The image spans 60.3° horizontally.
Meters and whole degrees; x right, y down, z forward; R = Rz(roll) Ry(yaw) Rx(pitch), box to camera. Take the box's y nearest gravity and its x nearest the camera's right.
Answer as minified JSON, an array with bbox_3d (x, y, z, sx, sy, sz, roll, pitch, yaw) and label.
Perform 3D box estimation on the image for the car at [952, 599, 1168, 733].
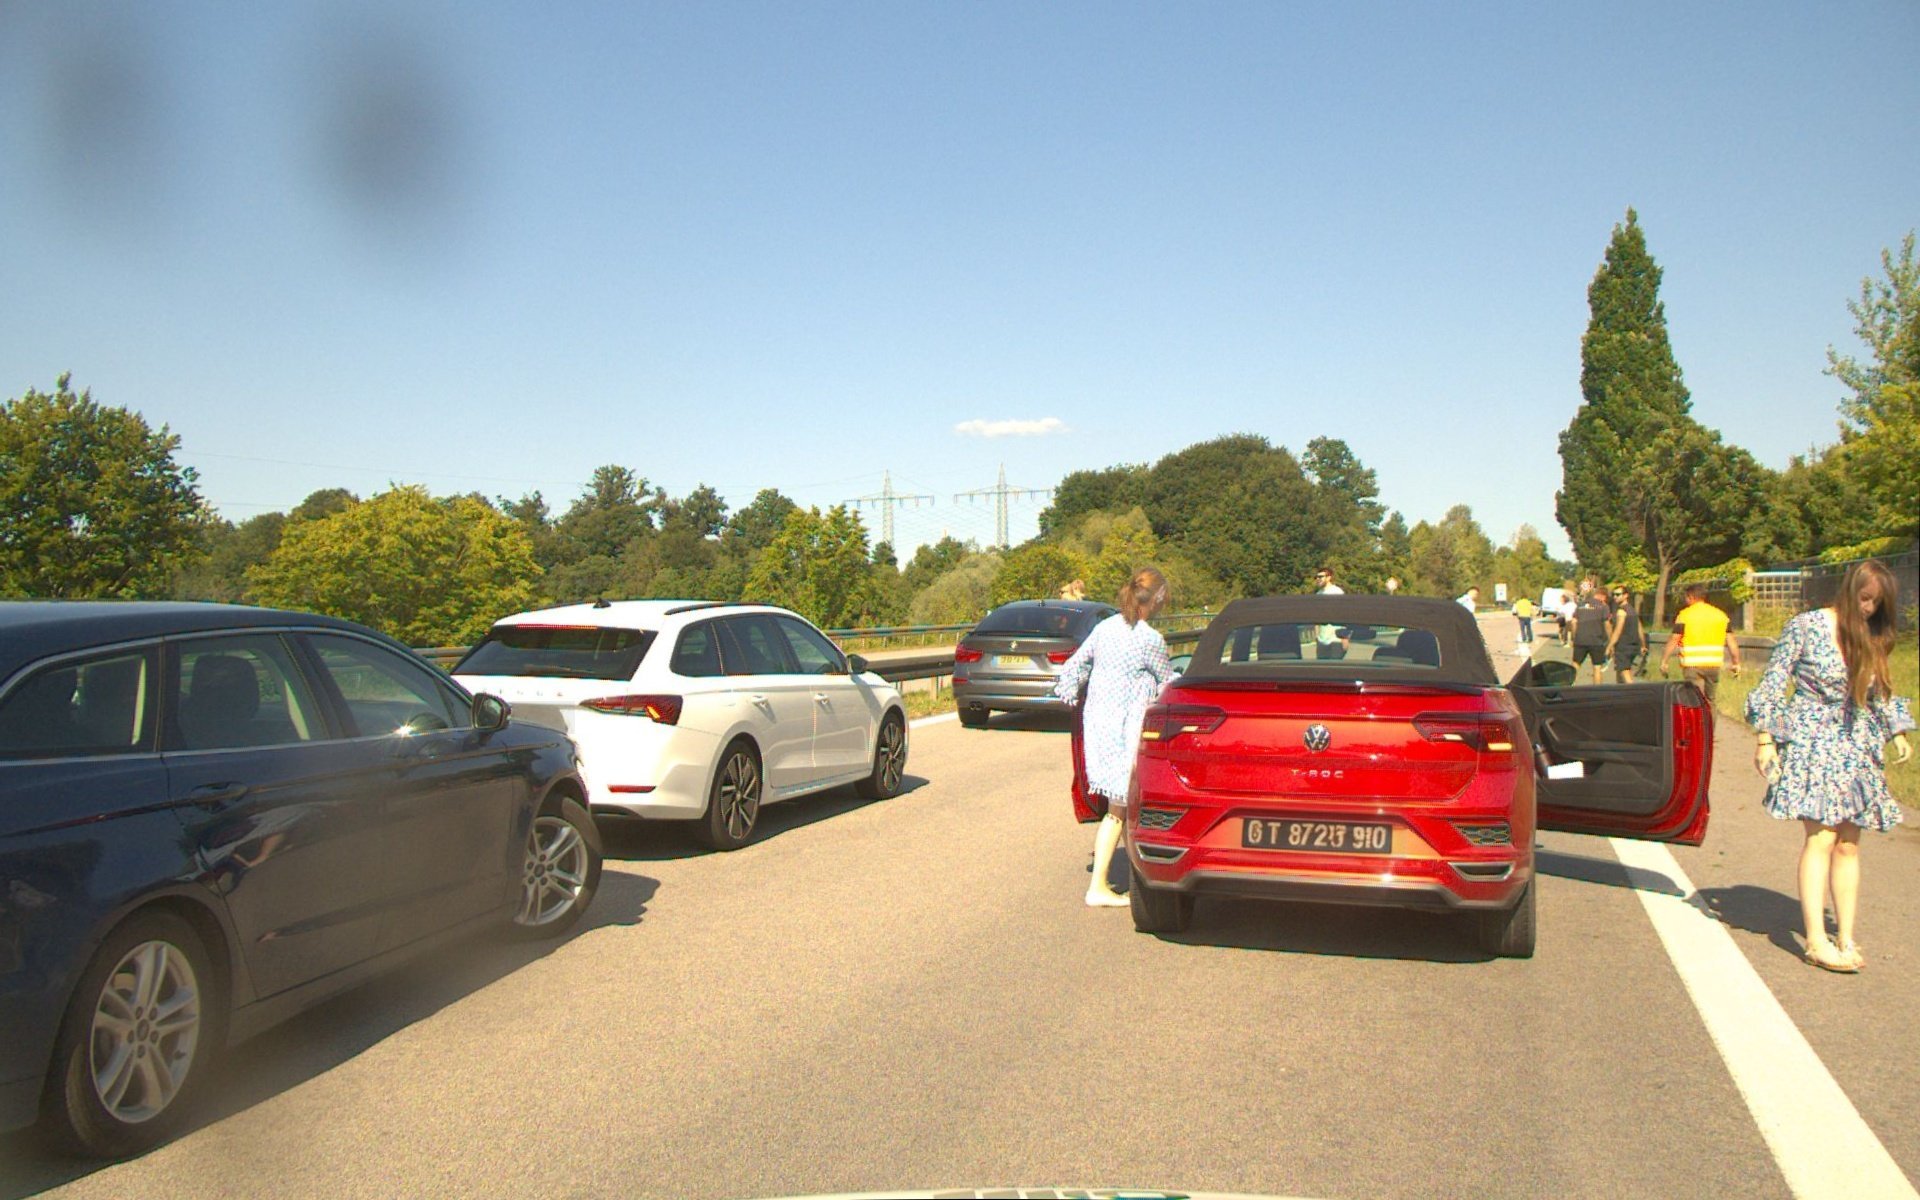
[{"bbox_3d":[1.349,0.718,20.351,1.659,1.451,4.336,1,0,17],"label":"car"}]

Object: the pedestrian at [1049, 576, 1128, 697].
[{"bbox_3d":[2.094,0.582,26.878,1.043,1.916,1.094,-1,-1,17],"label":"pedestrian"}]

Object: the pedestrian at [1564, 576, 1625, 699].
[{"bbox_3d":[9.472,0.555,24.705,0.794,1.790,0.828,1,0,18],"label":"pedestrian"}]

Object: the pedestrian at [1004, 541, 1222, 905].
[{"bbox_3d":[0.774,0.583,8.313,0.824,1.712,0.742,-1,-1,33],"label":"pedestrian"}]

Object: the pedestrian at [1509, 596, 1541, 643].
[{"bbox_3d":[20.820,0.710,60.945,1.035,1.719,1.017,1,0,24],"label":"pedestrian"}]

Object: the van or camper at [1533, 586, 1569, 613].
[{"bbox_3d":[54.175,-0.035,151.607,1.959,2.356,4.455,1,0,35],"label":"van or camper"}]

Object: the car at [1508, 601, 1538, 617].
[{"bbox_3d":[53.655,0.831,157.611,1.702,1.513,4.197,1,0,34],"label":"car"}]

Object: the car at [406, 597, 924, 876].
[{"bbox_3d":[-1.702,0.725,11.075,1.659,1.467,4.212,1,0,17],"label":"car"}]

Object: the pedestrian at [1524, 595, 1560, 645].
[{"bbox_3d":[20.410,0.694,57.967,1.092,1.719,0.972,1,0,26],"label":"pedestrian"}]

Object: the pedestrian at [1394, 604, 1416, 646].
[{"bbox_3d":[18.383,1.028,68.266,0.775,1.719,0.792,1,-1,23],"label":"pedestrian"}]

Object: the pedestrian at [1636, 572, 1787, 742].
[{"bbox_3d":[7.786,0.571,17.200,0.938,1.683,1.277,-1,0,-2],"label":"pedestrian"}]

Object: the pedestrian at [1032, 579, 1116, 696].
[{"bbox_3d":[1.796,0.579,25.924,1.091,1.794,1.045,-1,0,17],"label":"pedestrian"}]

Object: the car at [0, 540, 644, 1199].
[{"bbox_3d":[-2.694,0.646,5.651,1.750,1.519,4.497,-1,0,9],"label":"car"}]

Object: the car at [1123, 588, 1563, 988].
[{"bbox_3d":[2.108,0.715,8.581,1.696,1.513,4.212,1,0,17],"label":"car"}]

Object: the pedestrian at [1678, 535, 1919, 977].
[{"bbox_3d":[3.776,0.610,7.012,1.108,1.725,0.888,-1,-1,41],"label":"pedestrian"}]

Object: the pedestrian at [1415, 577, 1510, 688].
[{"bbox_3d":[8.415,0.537,27.725,1.077,1.820,1.095,1,-1,-32],"label":"pedestrian"}]

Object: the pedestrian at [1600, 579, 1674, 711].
[{"bbox_3d":[9.180,0.597,22.458,0.876,1.755,0.754,1,-1,20],"label":"pedestrian"}]

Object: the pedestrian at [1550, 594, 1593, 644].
[{"bbox_3d":[20.964,0.649,56.724,0.992,1.719,0.993,1,0,-20],"label":"pedestrian"}]

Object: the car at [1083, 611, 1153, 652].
[{"bbox_3d":[6.137,1.184,63.900,1.659,1.451,4.305,1,0,20],"label":"car"}]

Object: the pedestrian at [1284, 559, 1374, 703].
[{"bbox_3d":[5.126,0.426,23.074,1.082,1.946,1.258,-1,0,7],"label":"pedestrian"}]
